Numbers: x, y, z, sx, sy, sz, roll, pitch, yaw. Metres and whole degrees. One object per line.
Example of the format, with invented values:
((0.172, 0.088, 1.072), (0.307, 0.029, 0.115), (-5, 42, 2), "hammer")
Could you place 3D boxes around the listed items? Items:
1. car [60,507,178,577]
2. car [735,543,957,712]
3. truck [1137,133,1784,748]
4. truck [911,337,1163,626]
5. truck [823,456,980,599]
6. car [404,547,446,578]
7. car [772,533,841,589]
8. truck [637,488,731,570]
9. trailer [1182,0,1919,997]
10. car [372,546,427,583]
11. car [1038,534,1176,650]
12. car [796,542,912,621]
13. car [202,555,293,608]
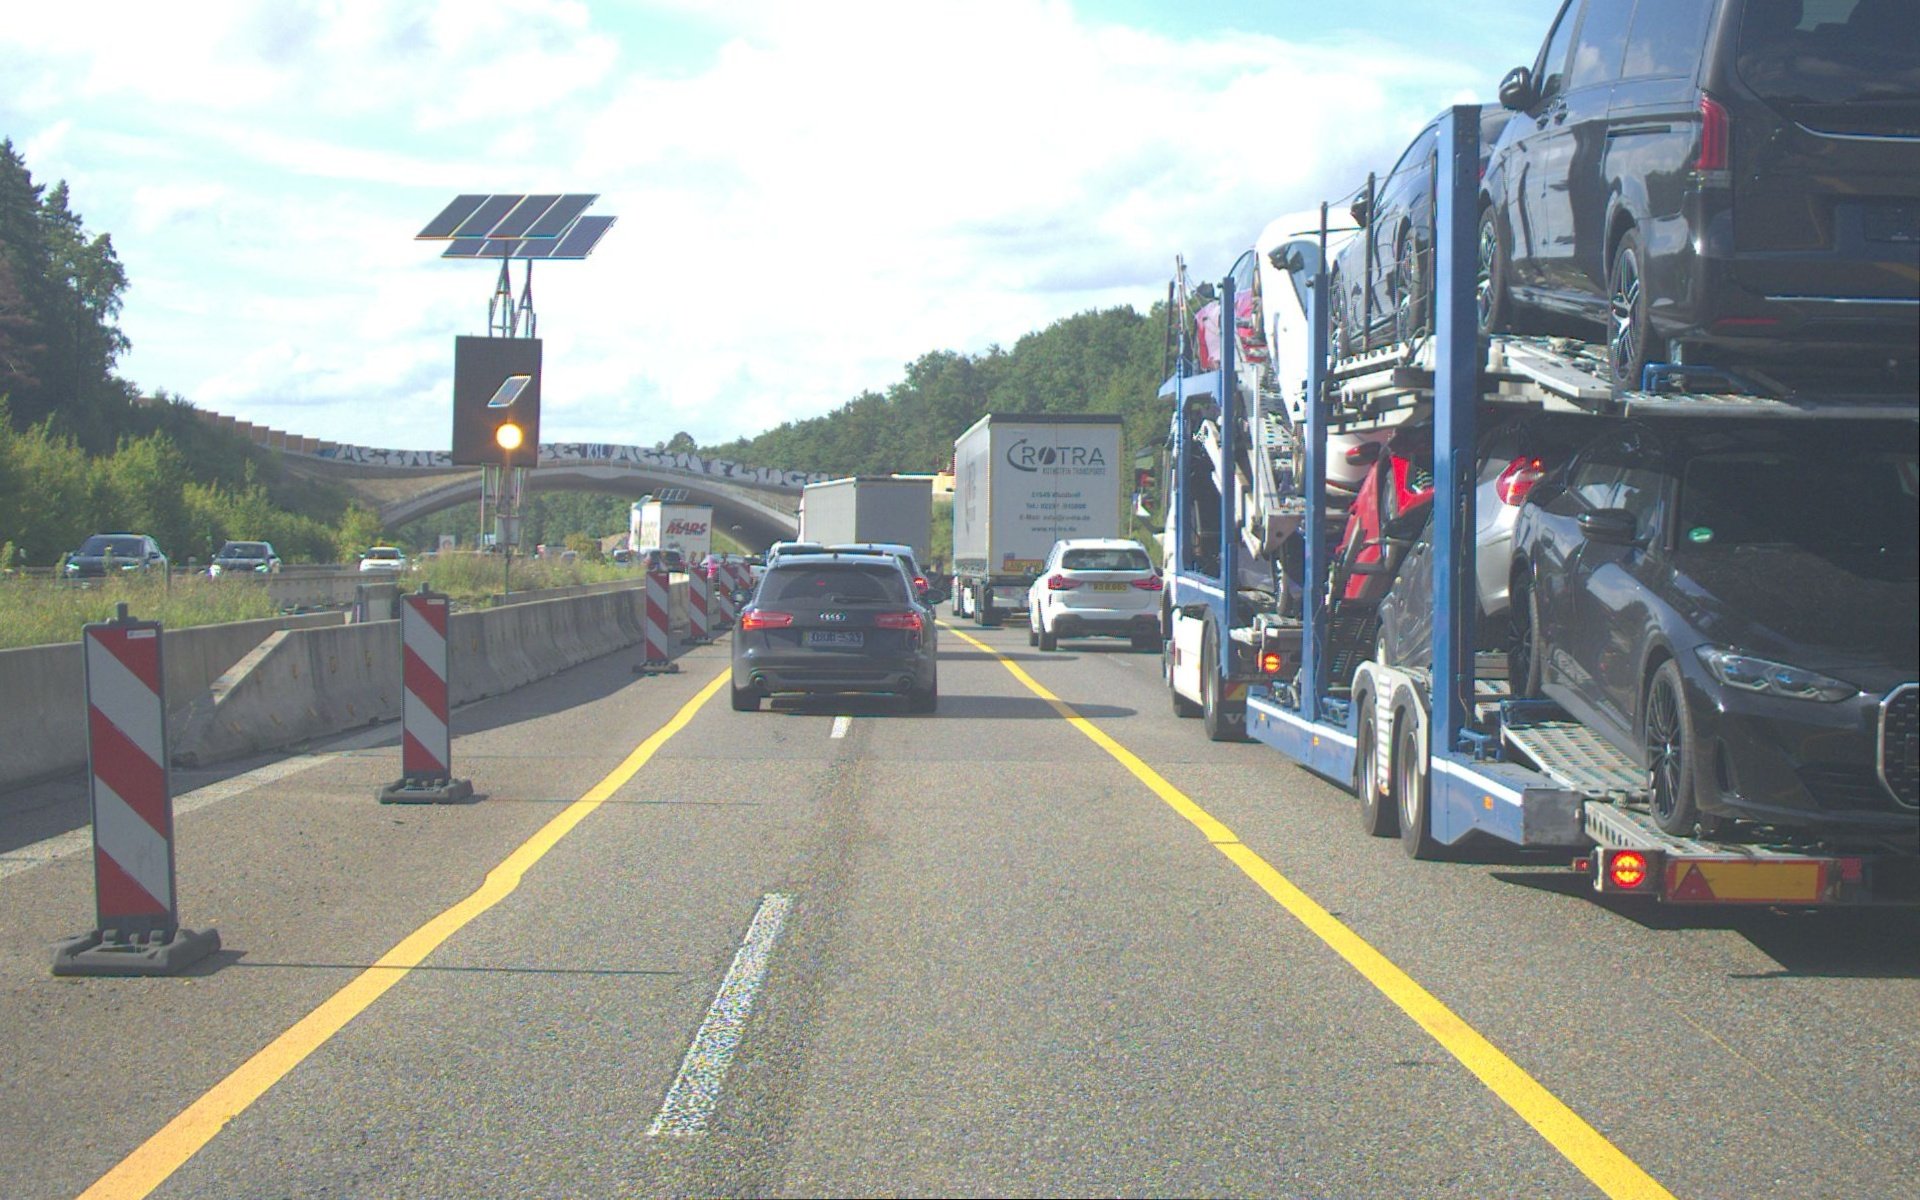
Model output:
((-19.874, -1.366, 81.395), (1.778, 1.597, 4.018), (1, 1, 0), "car")
((-0.987, 0.214, 31.817), (1.890, 1.441, 4.000), (1, 1, 0), "car")
((3.665, -1.145, 27.720), (3.761, 4.182, 7.952), (1, 1, -2), "truck")
((1.333, -2.325, 72.459), (3.677, 5.335, 16.204), (1, 1, -4), "truck")
((-2.123, -2.443, 118.047), (4.318, 4.584, 11.127), (1, 1, -6), "truck")
((-28.195, -1.979, 181.350), (1.778, 1.597, 4.677), (1, 1, -4), "car")
((-4.678, -1.182, 104.310), (1.890, 1.638, 4.018), (1, 1, -5), "car")
((-13.981, -3.551, 173.230), (3.653, 3.915, 11.070), (1, 1, -10), "truck")
((3.930, -0.852, 19.586), (3.726, 4.182, 16.229), (1, 1, -2), "trailer")
((-25.102, -1.593, 153.962), (1.778, 1.597, 4.018), (1, 1, 0), "car")
((2.171, -0.144, 51.683), (1.890, 1.638, 4.018), (1, 1, 0), "car")
((-2.048, -0.366, 65.579), (1.890, 1.441, 4.001), (1, 1, -6), "car")
((-22.094, -0.604, 106.783), (1.958, 1.583, 4.483), (1, 1, -1), "car")
